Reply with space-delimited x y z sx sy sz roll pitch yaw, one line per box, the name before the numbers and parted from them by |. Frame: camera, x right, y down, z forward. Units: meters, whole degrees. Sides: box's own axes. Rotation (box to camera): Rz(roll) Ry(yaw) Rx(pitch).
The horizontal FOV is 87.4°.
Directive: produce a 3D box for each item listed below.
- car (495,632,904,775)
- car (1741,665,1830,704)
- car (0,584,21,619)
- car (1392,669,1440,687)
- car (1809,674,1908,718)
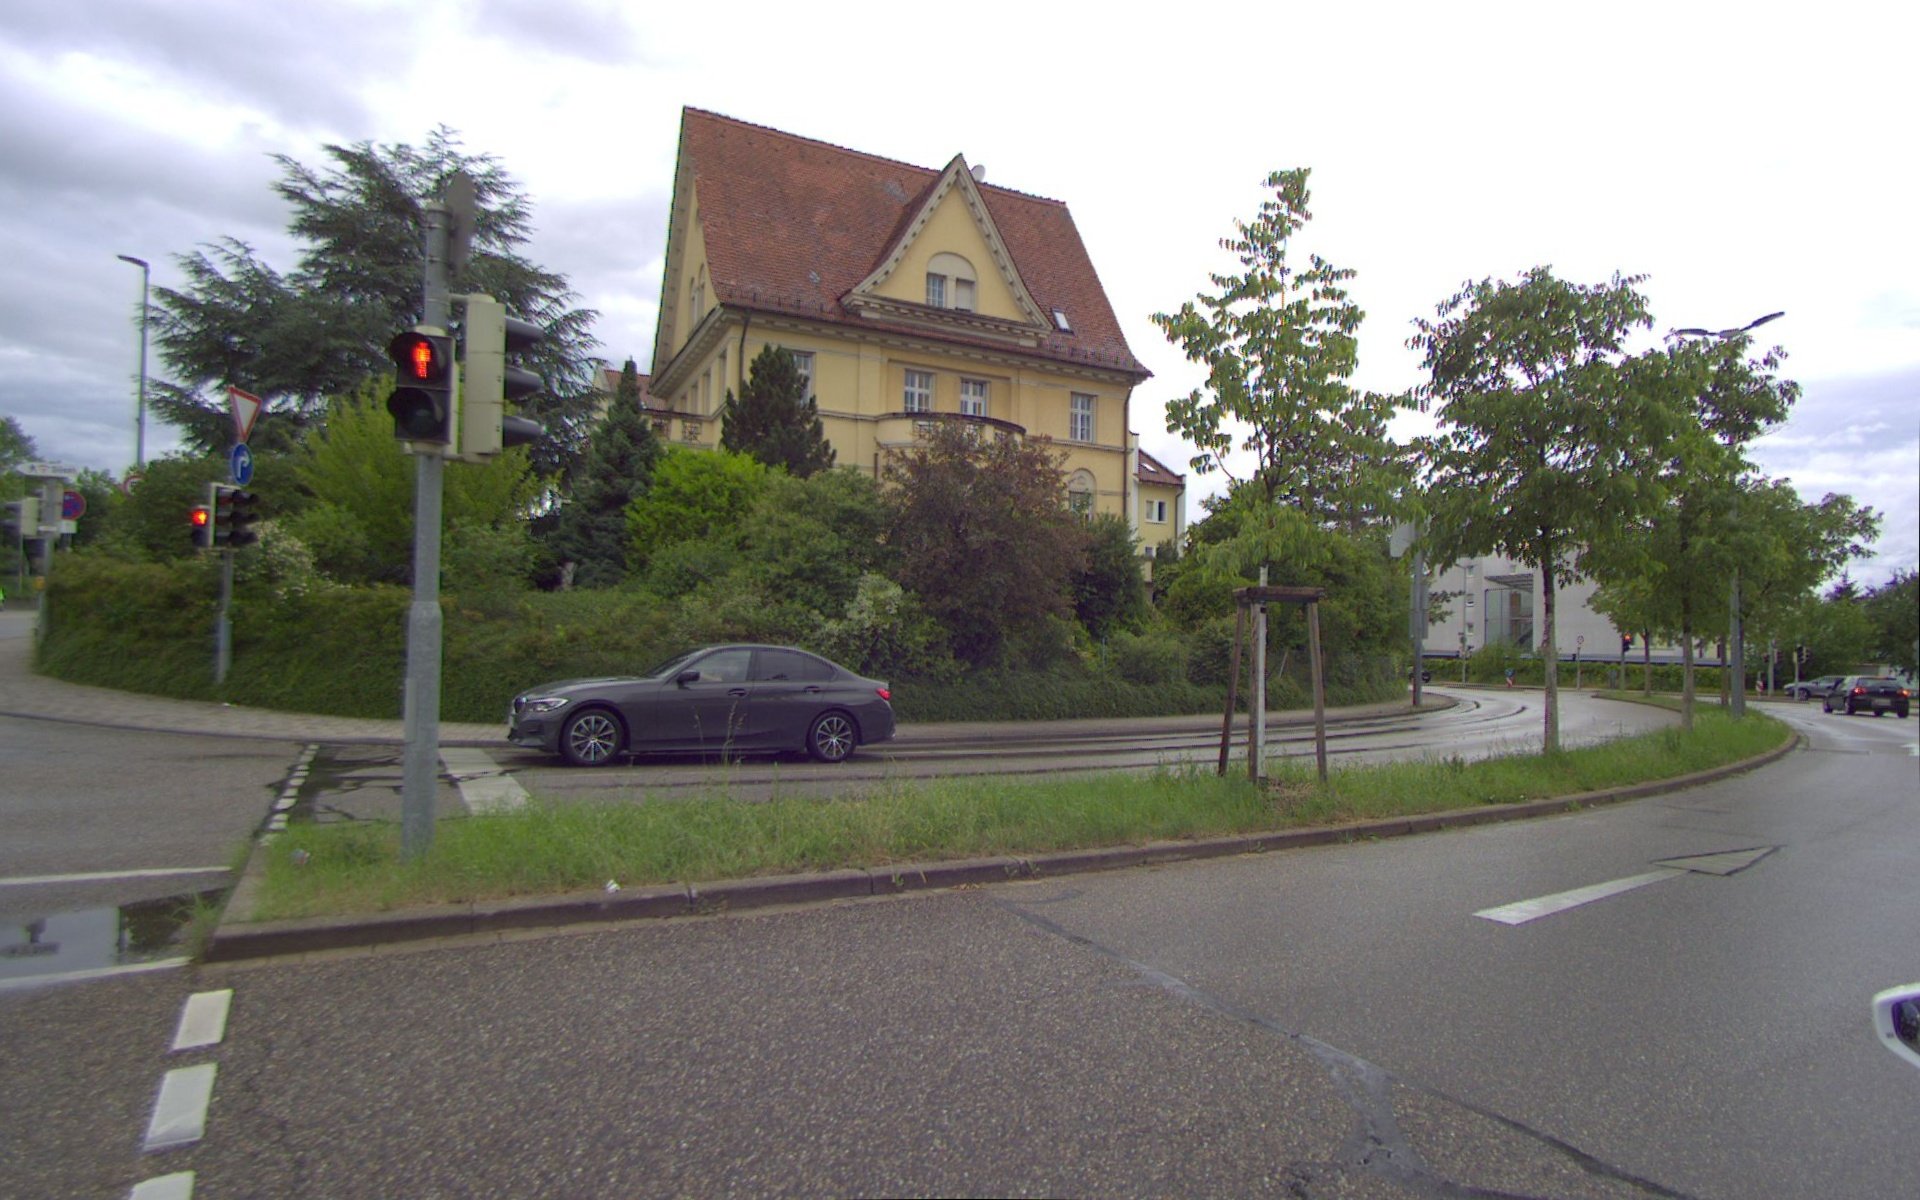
car | -3.154 1.229 12.422 4.497 1.456 1.984 4 -3 -31
car | 51.267 5.193 62.406 1.964 2.040 3.954 1 0 -40
car | -49.883 0.093 51.016 1.972 1.773 3.975 -1 1 -24
car | 42.177 7.228 93.056 1.967 1.576 3.989 1 -3 -15
car | 33.985 3.610 38.114 1.822 1.448 3.996 1 -3 27
